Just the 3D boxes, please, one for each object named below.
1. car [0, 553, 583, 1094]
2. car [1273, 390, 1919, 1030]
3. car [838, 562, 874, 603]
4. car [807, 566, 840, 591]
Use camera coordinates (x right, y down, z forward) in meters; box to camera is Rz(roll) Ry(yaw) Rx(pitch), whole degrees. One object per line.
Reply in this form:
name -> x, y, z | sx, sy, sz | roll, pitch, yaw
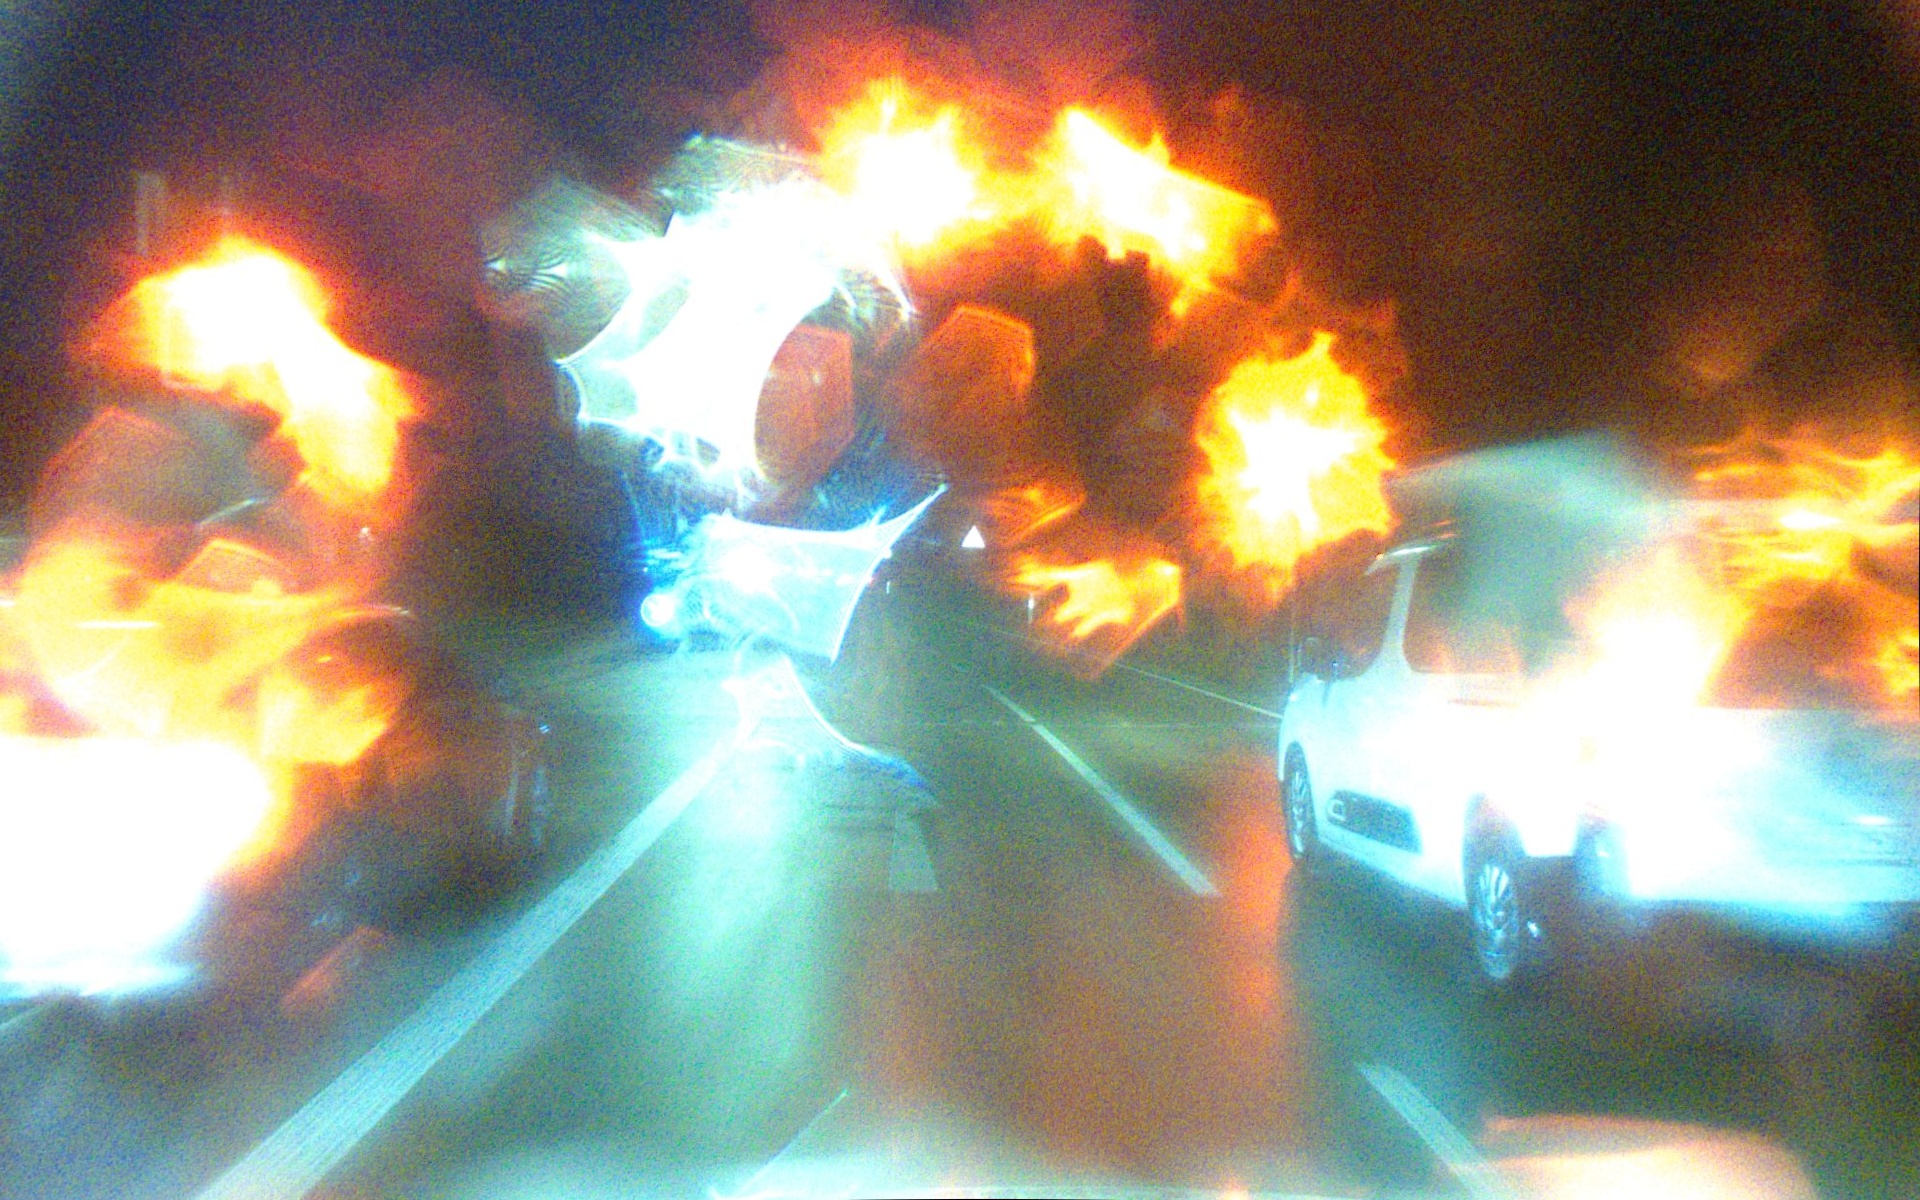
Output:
car -> -2.932, 0.625, 6.921 | 1.747, 1.537, 4.435 | 0, 0, -1
car -> 2.806, 0.347, 7.651 | 1.755, 2.057, 4.579 | 1, 0, -1
car -> -5.384, -0.891, 85.084 | 1.756, 2.057, 4.575 | 1, 0, -5
car -> -10.977, -1.743, 133.268 | 1.952, 1.746, 4.001 | 5, -1, 3
